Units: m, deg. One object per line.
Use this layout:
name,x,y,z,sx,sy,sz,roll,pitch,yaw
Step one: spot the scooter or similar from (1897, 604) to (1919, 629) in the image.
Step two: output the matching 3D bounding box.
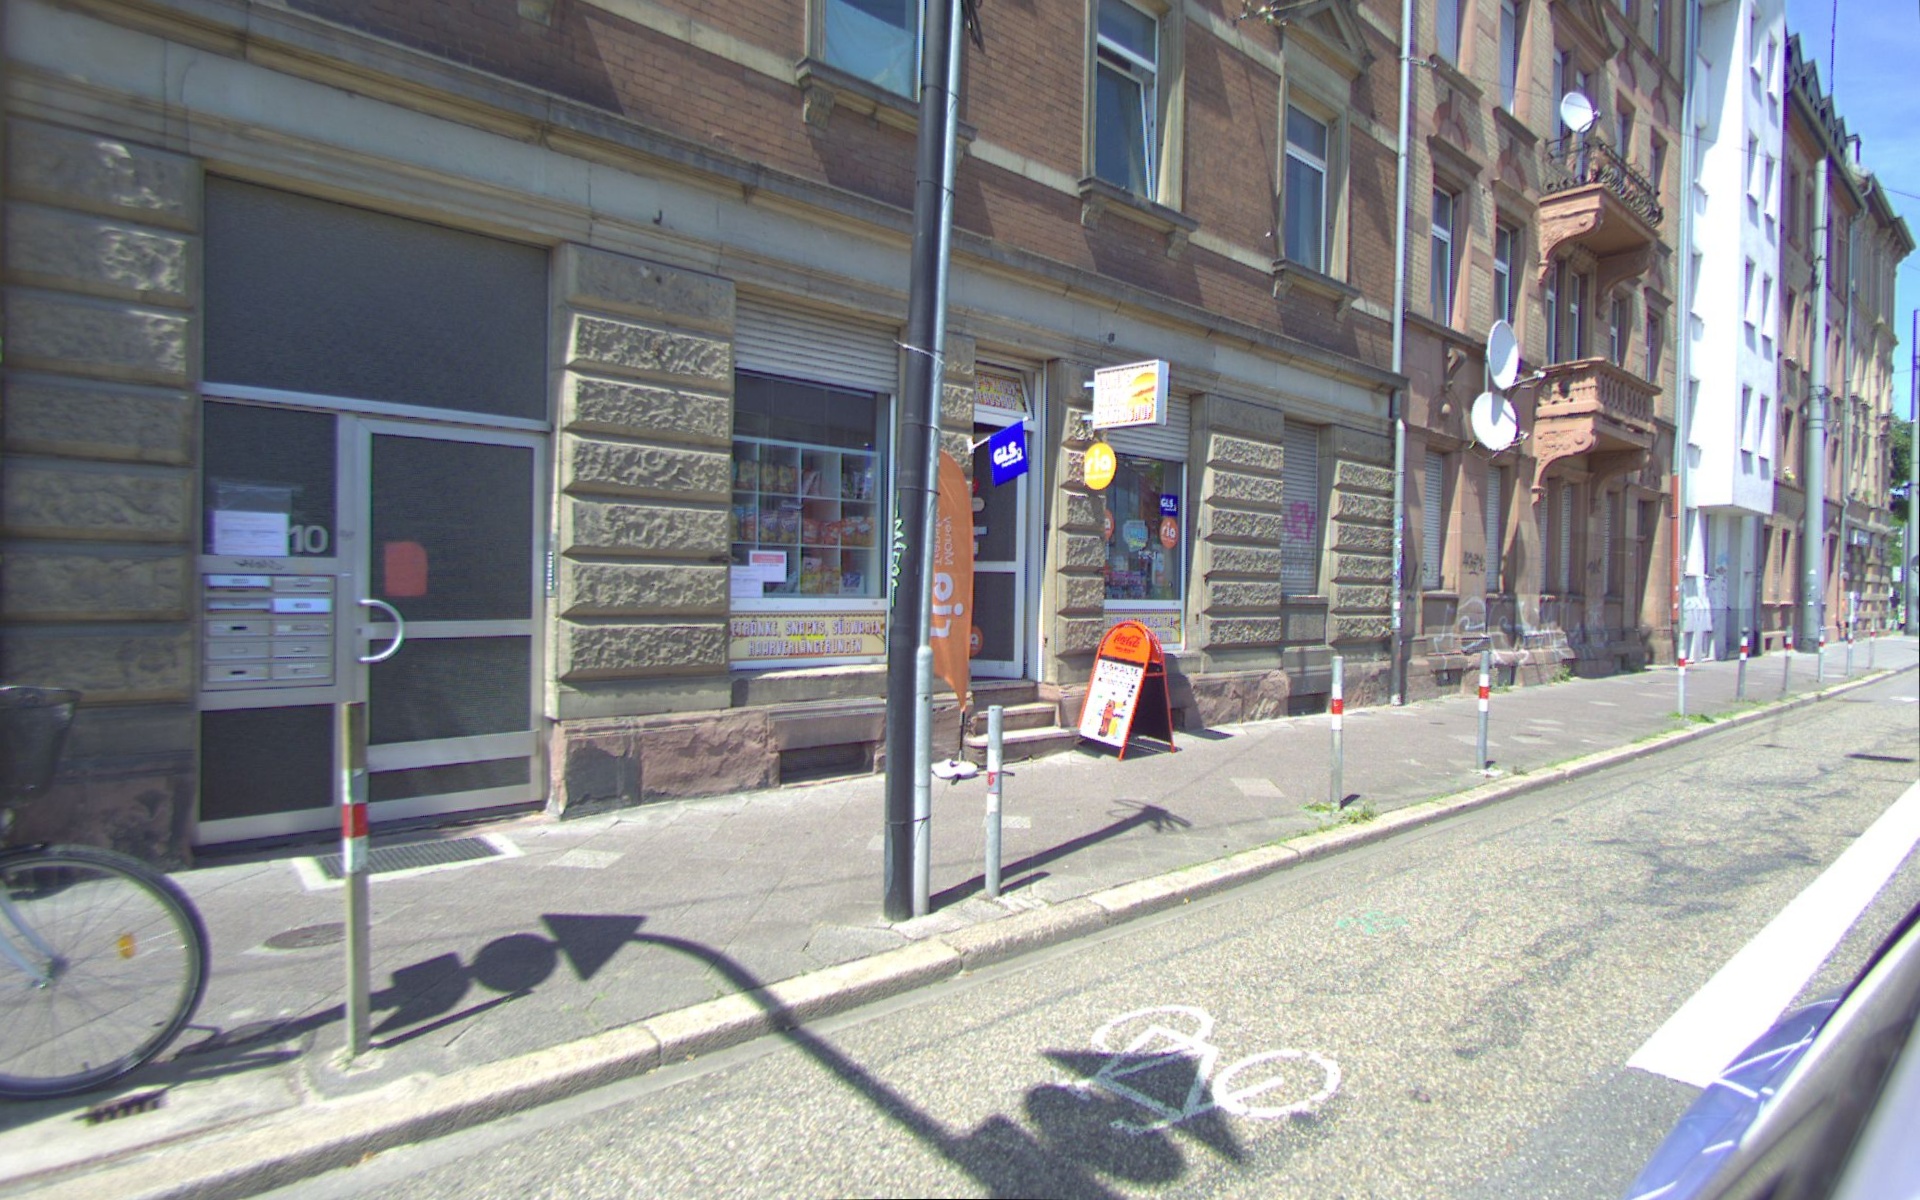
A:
scooter or similar,44.741,0.777,47.068,1.507,1.170,0.710,1,0,22

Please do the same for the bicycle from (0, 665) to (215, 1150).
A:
bicycle,-3.063,0.751,2.138,2.376,1.110,0.449,0,1,-35
